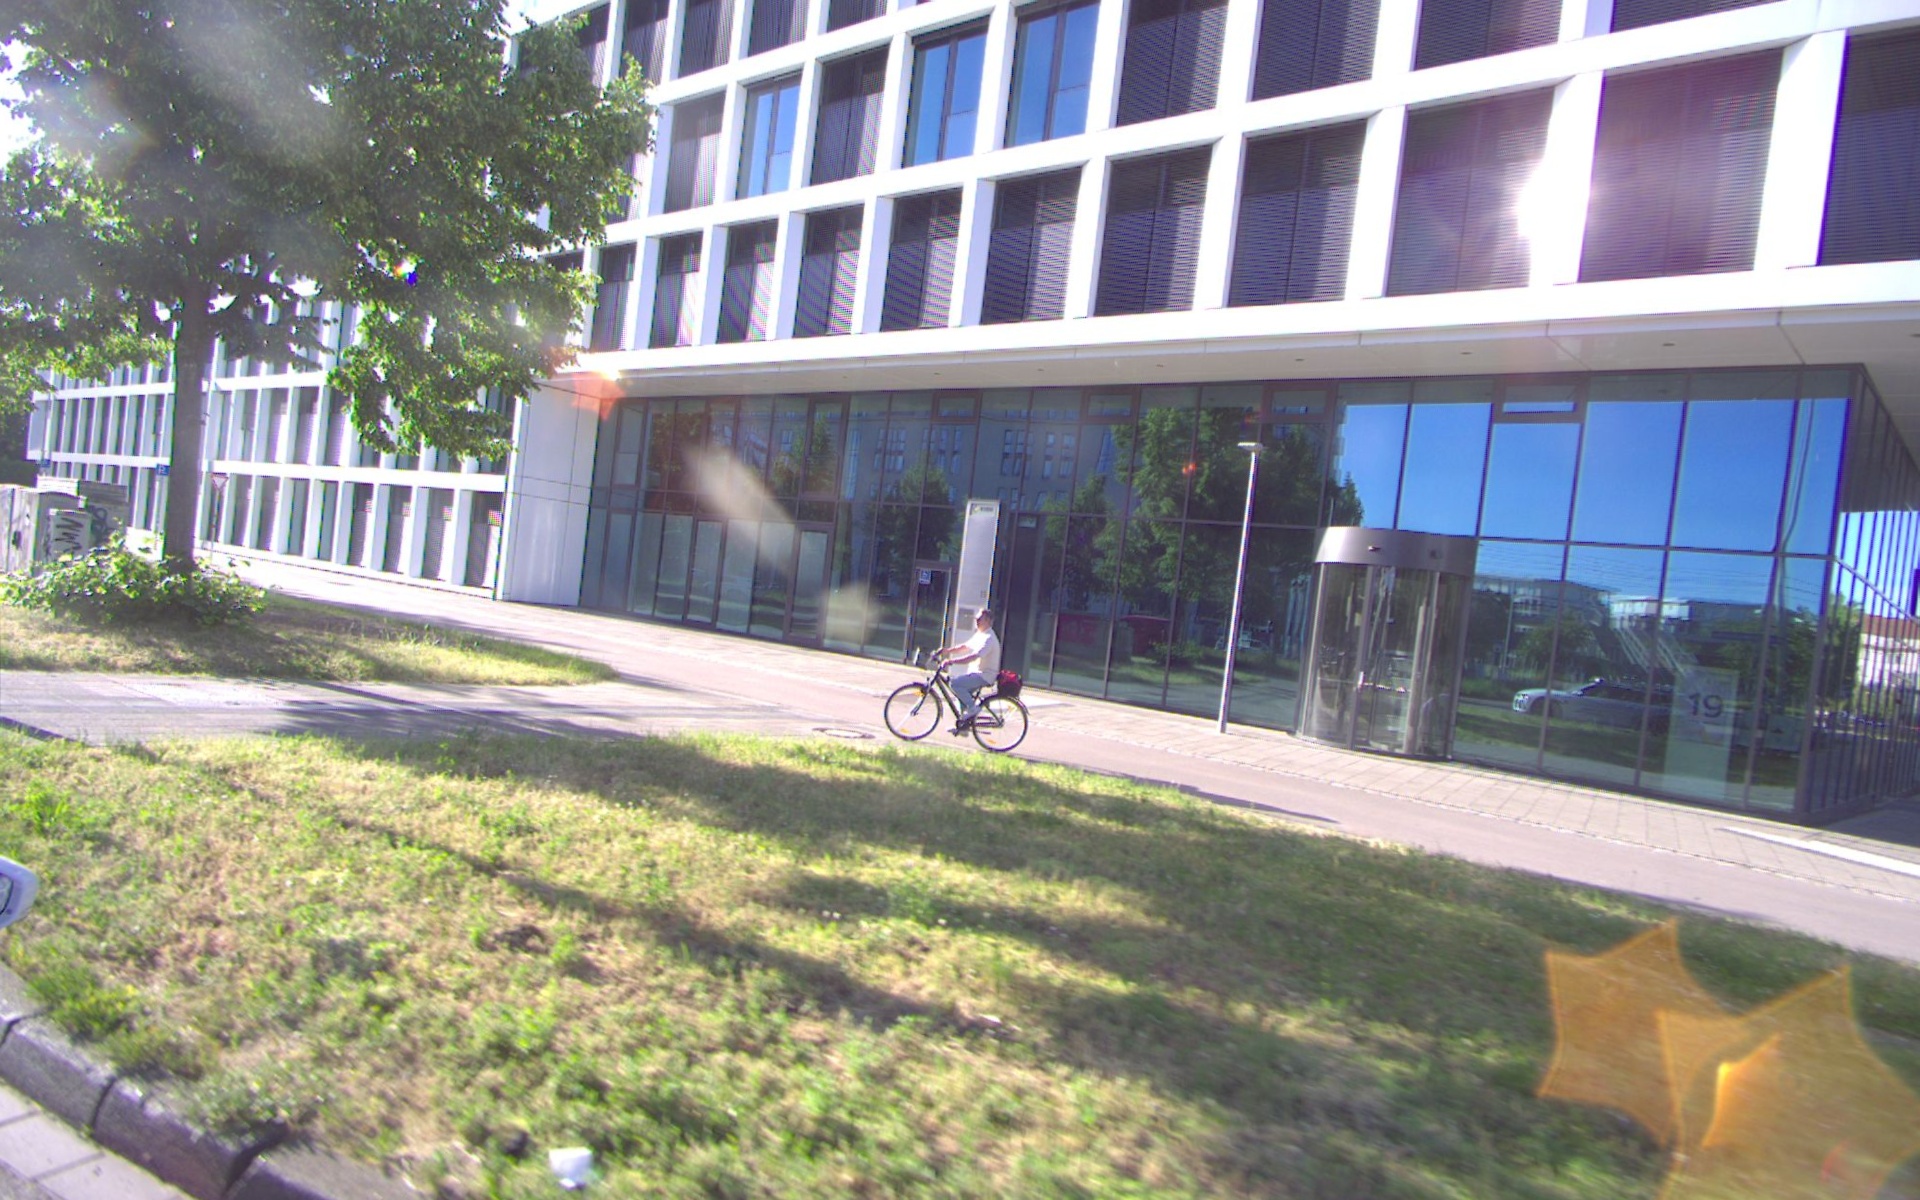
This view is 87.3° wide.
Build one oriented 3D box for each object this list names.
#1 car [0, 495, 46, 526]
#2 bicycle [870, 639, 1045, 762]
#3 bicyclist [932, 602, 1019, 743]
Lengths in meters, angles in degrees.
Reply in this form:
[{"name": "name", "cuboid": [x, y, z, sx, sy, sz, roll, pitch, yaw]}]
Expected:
[{"name": "car", "cuboid": [-65.957, -6.297, 70.534, 3.939, 1.837, 1.994, 6, -1, 37]}, {"name": "bicycle", "cuboid": [-0.007, 1.191, 12.168, 1.924, 1.188, 0.744, 7, 1, 5]}, {"name": "bicyclist", "cuboid": [0.204, 0.849, 12.126, 0.833, 1.551, 0.774, 6, 1, 5]}]
